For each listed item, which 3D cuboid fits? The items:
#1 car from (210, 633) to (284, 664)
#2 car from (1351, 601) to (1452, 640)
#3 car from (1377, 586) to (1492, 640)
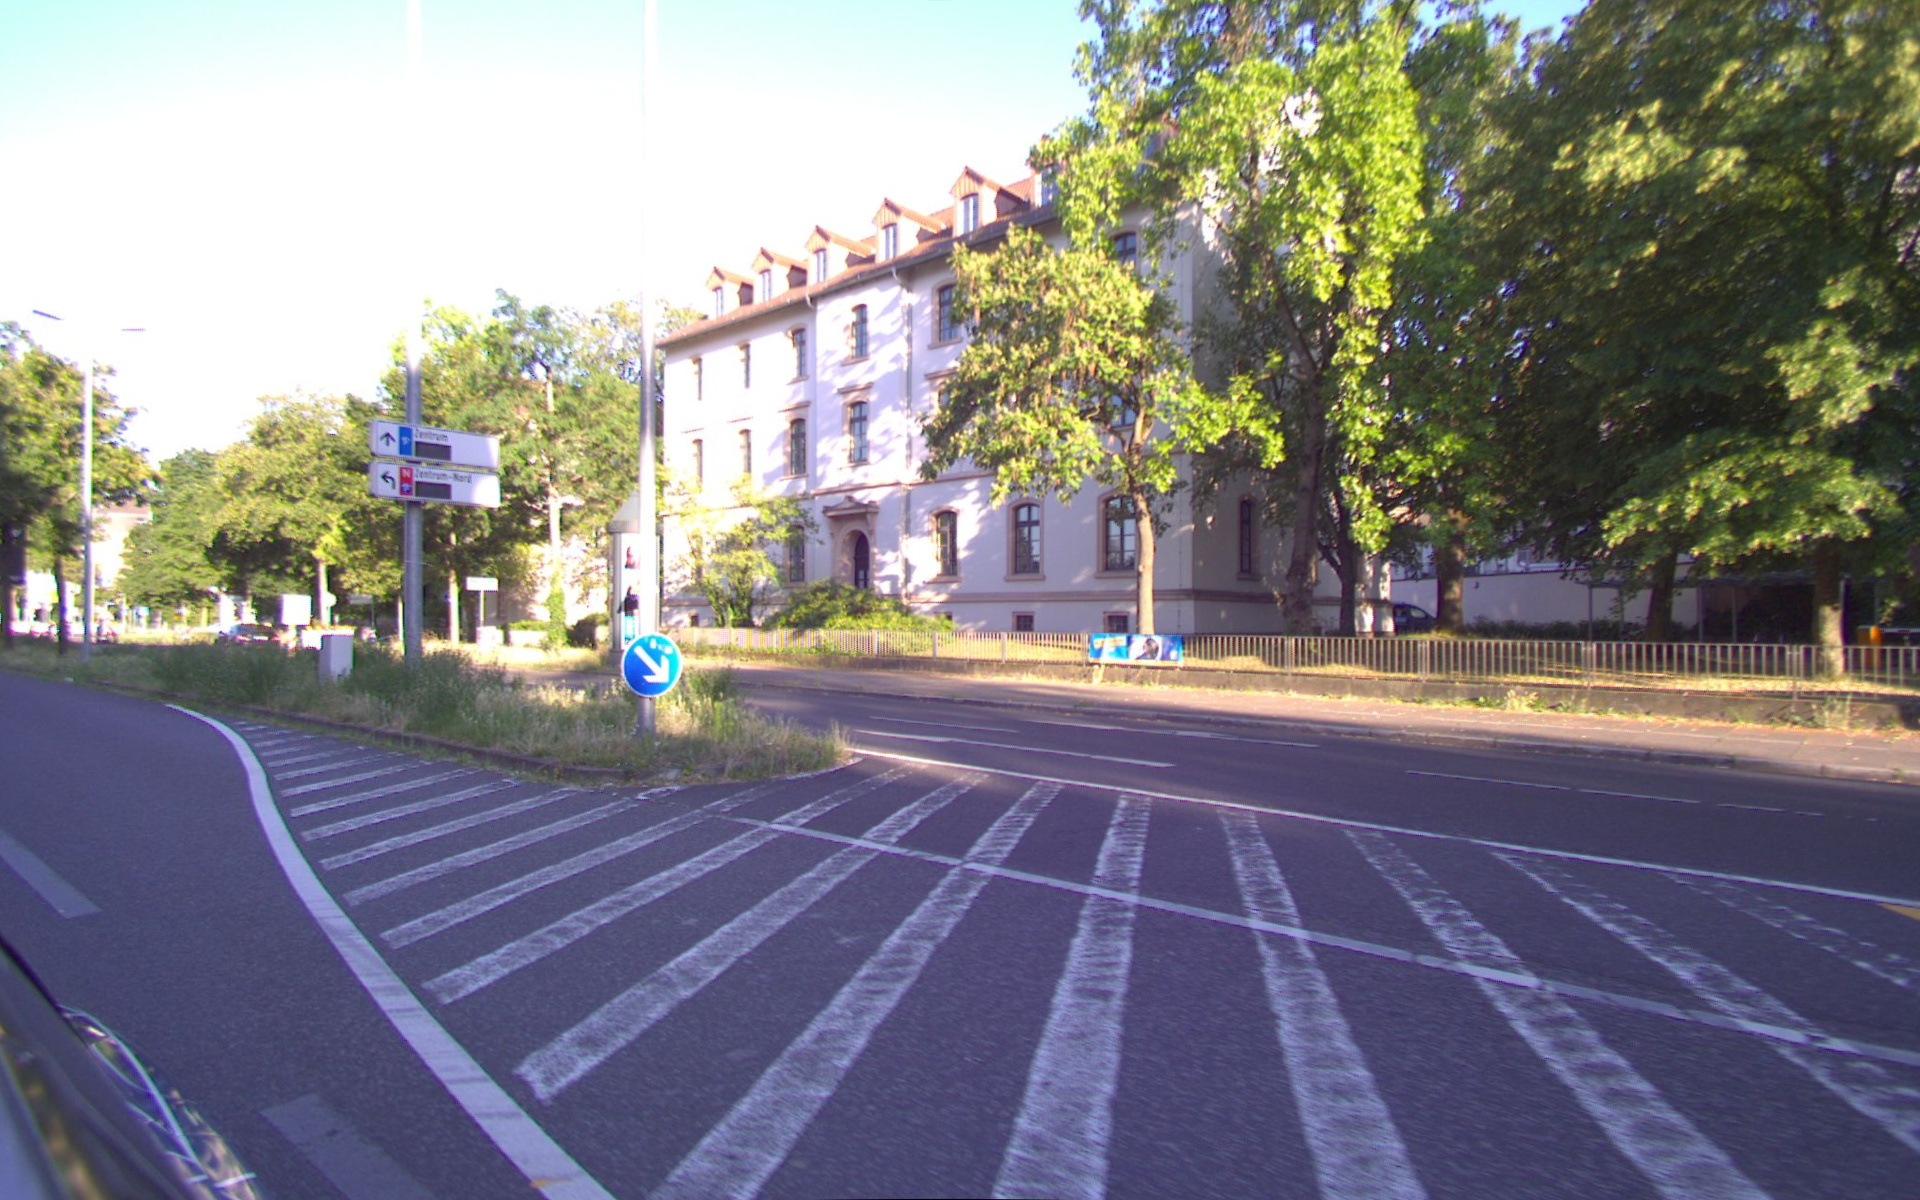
[{"bbox_3d":[-32.607,2.207,46.258,4.005,1.283,1.755,-1,-5,41],"label":"car"},{"bbox_3d":[21.522,1.012,49.382,4.047,1.842,1.966,0,-1,-10],"label":"car"},{"bbox_3d":[17.096,0.442,36.553,3.221,1.837,1.862,-1,0,-1],"label":"car"}]
